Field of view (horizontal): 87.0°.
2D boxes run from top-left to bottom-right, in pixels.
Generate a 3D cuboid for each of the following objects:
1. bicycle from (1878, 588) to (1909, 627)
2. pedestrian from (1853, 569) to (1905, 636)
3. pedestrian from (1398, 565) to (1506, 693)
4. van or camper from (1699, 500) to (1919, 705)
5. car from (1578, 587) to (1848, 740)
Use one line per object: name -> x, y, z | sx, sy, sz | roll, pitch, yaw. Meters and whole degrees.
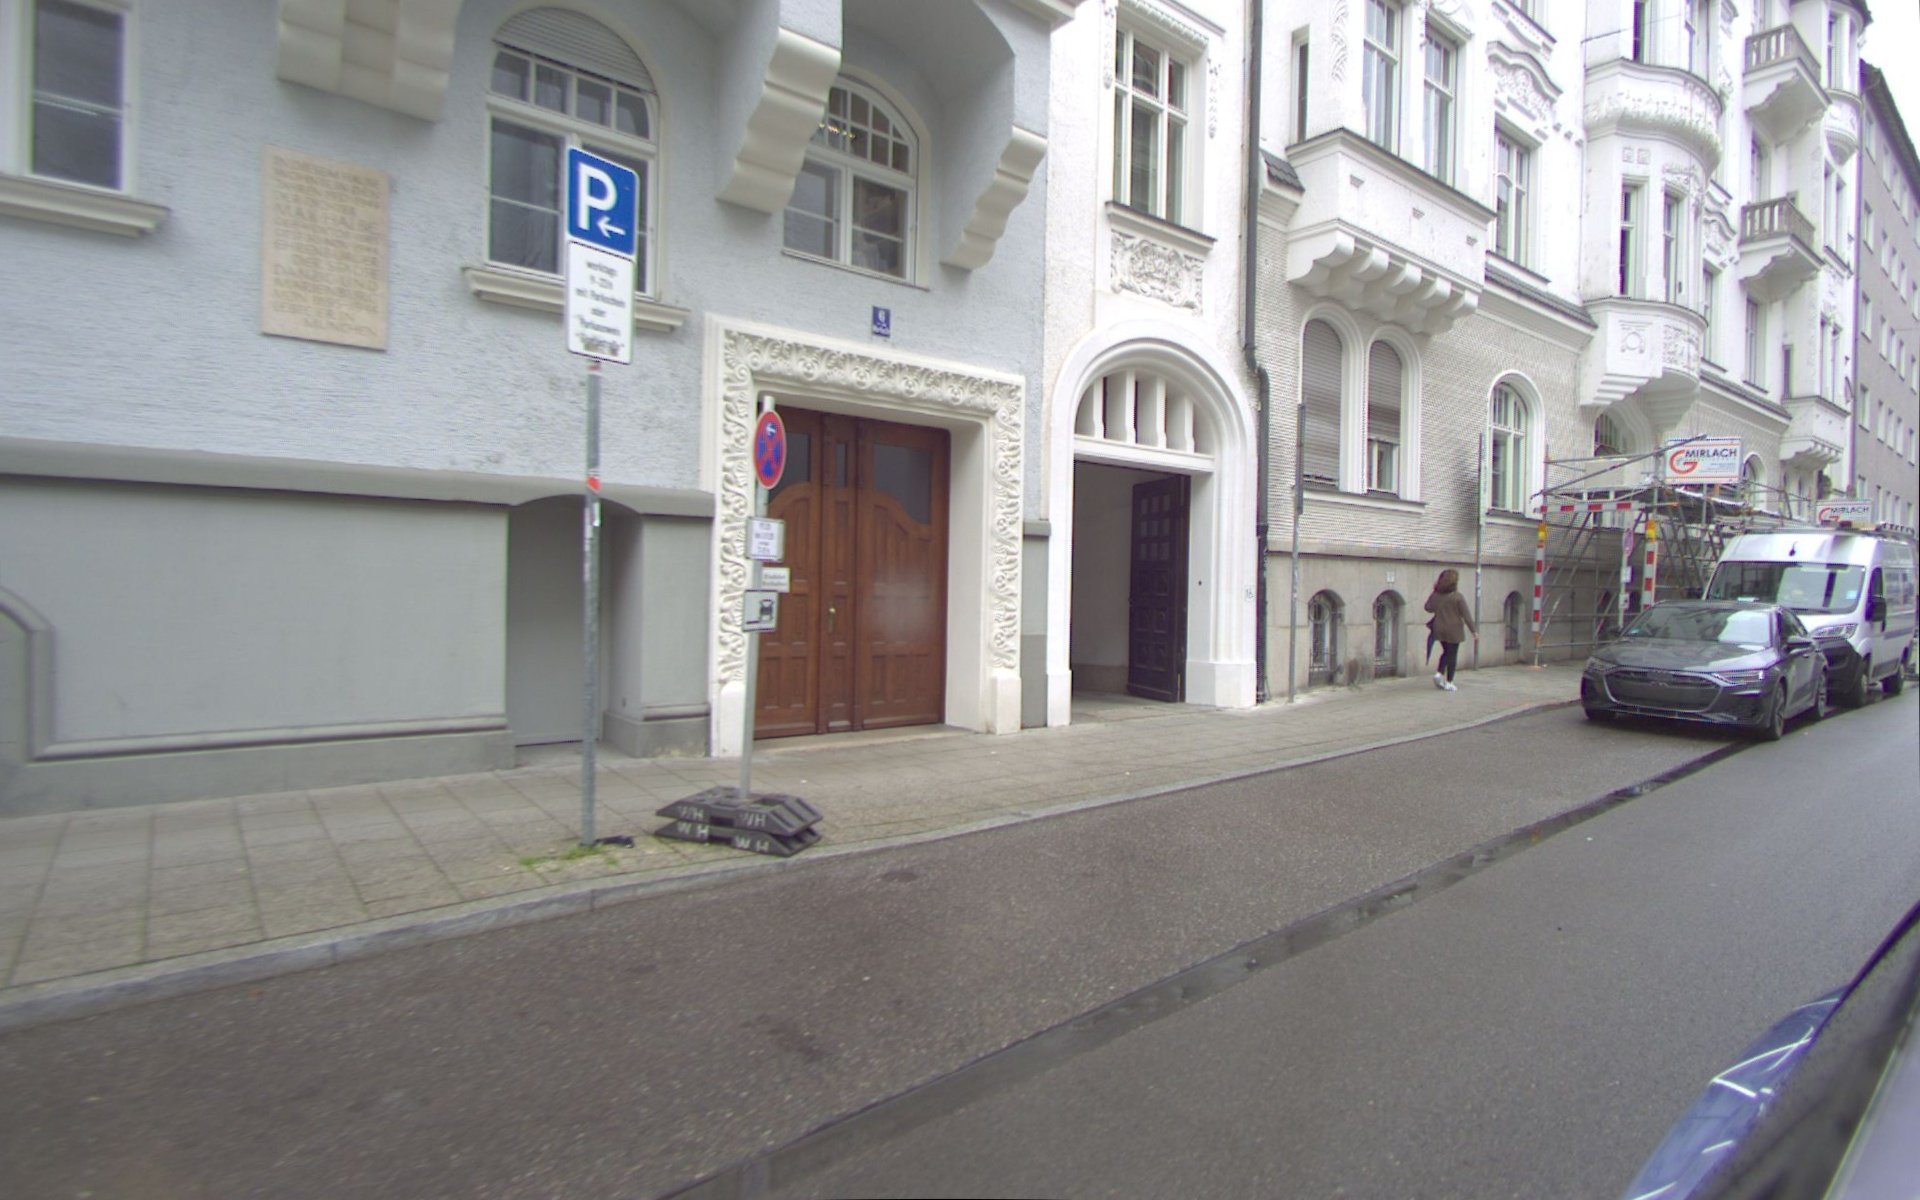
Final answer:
bicycle -> 32.408, 0.257, 35.128 | 1.788, 1.275, 0.513 | 0, 5, -41
pedestrian -> 27.527, 0.063, 30.303 | 1.158, 1.933, 0.929 | 0, 3, -41
pedestrian -> 6.515, 0.341, 13.400 | 0.999, 1.573, 0.922 | -2, 4, -40
van or camper -> 13.370, -0.014, 15.631 | 5.362, 2.669, 1.957 | -1, 1, -40
car -> 8.902, 0.598, 11.843 | 4.017, 1.452, 1.756 | 0, 2, -42
